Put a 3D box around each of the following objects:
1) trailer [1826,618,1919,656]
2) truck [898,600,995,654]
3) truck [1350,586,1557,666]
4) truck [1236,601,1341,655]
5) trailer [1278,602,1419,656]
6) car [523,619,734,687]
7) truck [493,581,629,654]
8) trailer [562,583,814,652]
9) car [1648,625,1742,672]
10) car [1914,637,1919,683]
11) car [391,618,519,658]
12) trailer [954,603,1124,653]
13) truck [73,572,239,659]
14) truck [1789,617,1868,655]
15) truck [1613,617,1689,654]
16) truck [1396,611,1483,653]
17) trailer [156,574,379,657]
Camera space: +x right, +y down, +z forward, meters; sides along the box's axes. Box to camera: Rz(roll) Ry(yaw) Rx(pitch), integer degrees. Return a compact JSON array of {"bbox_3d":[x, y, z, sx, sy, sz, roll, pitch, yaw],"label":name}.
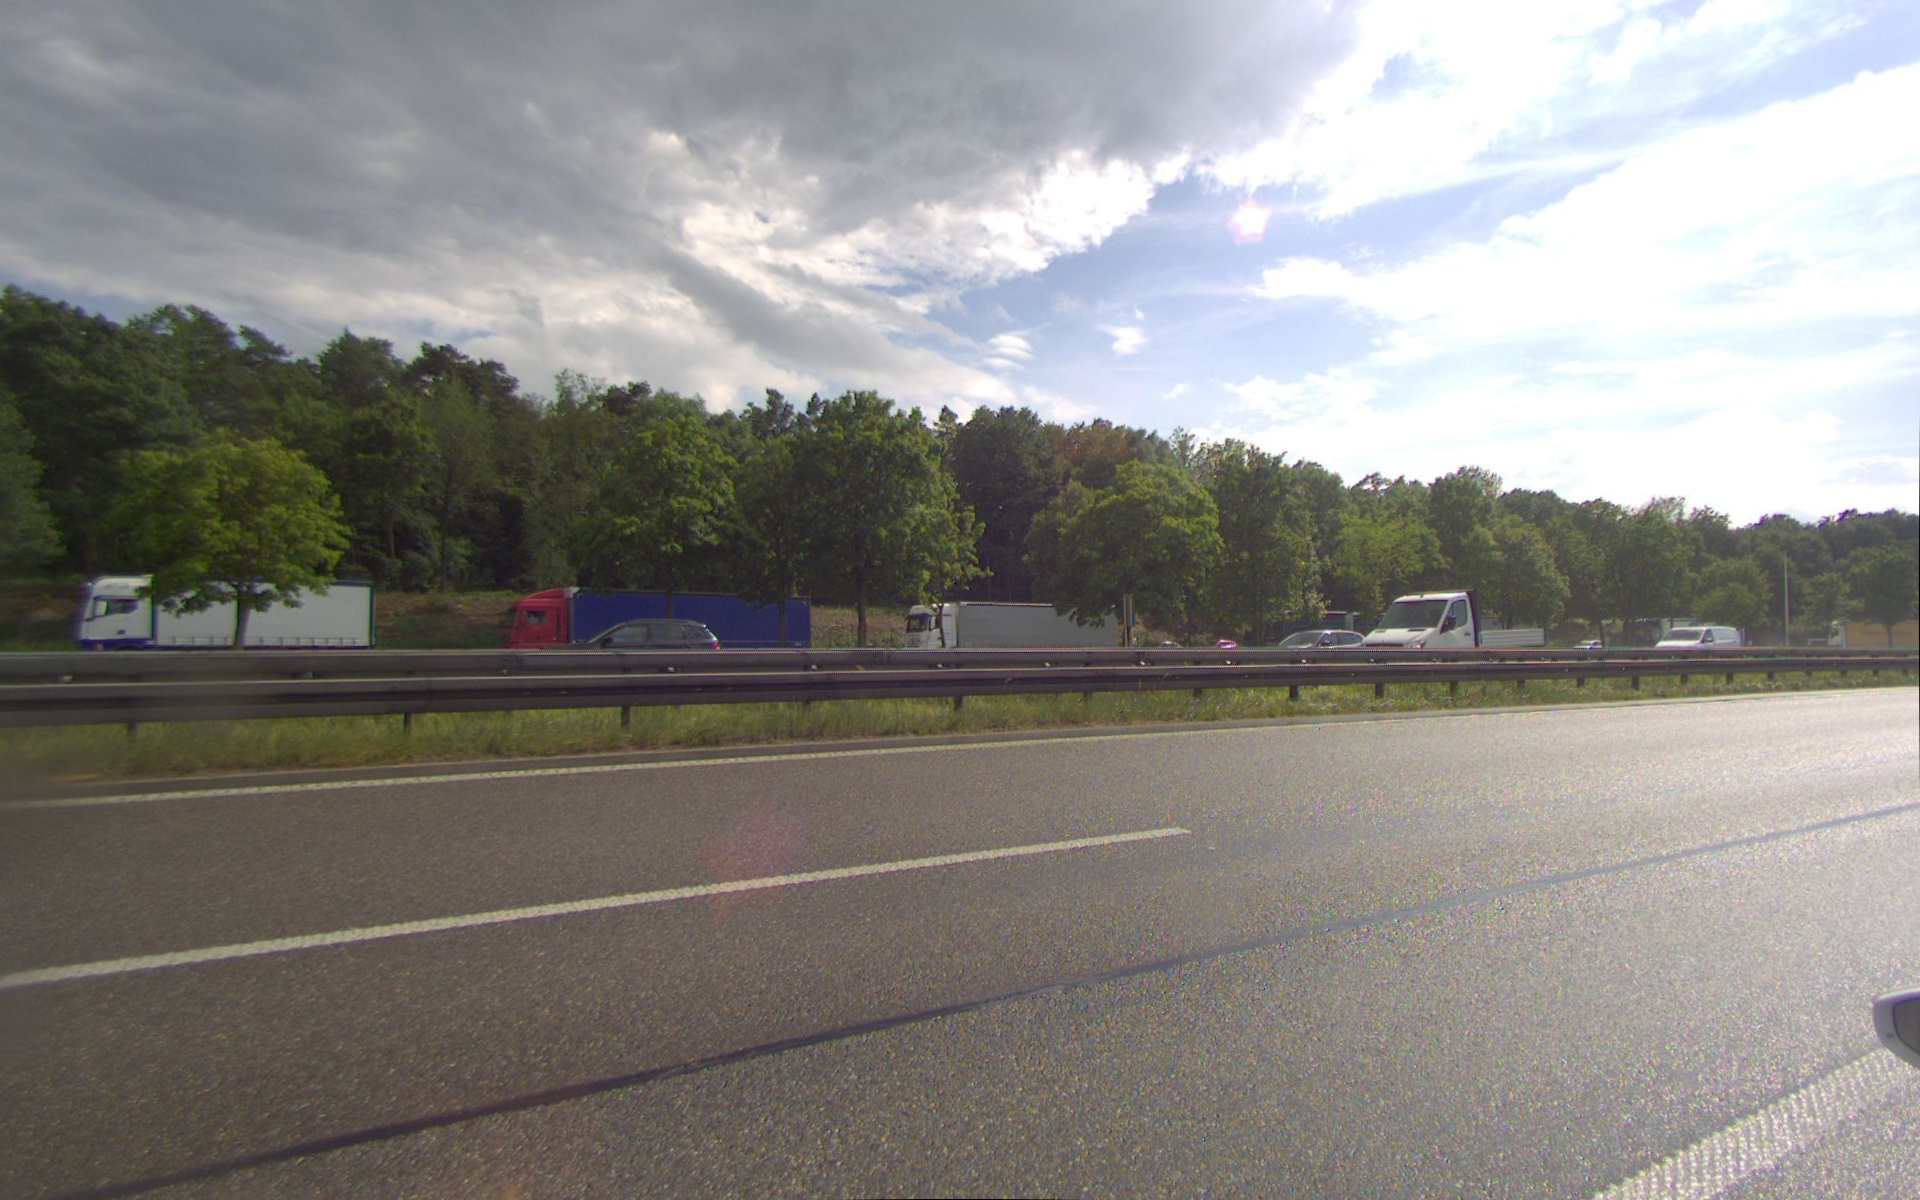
[{"bbox_3d":[109.931,4.431,120.294,11.534,4.171,3.787,2,0,-16],"label":"trailer"},{"bbox_3d":[-0.878,1.756,65.939,5.450,3.316,3.332,2,0,-34],"label":"truck"},{"bbox_3d":[12.984,0.684,26.347,5.383,1.920,2.246,2,0,-30],"label":"truck"},{"bbox_3d":[27.719,2.407,84.680,8.316,4.290,3.771,2,0,-29],"label":"truck"},{"bbox_3d":[34.312,2.564,88.462,13.633,4.464,3.773,1,-1,-29],"label":"trailer"},{"bbox_3d":[-7.681,1.212,23.358,4.382,1.411,1.821,2,0,-30],"label":"car"},{"bbox_3d":[-20.228,0.895,51.041,5.843,3.502,2.839,2,0,-37],"label":"truck"},{"bbox_3d":[-14.621,1.051,55.303,13.303,3.450,2.802,2,-1,-37],"label":"trailer"},{"bbox_3d":[34.778,2.276,47.507,4.723,2.072,1.821,2,0,-30],"label":"car"},{"bbox_3d":[45.953,2.787,46.131,4.723,2.072,1.821,2,0,-30],"label":"car"},{"bbox_3d":[-28.047,2.111,55.902,6.080,2.040,1.978,2,0,-39],"label":"car"},{"bbox_3d":[5.661,1.991,70.137,12.337,3.259,3.329,1,-1,-32],"label":"trailer"},{"bbox_3d":[-32.464,0.627,40.708,5.046,3.311,2.631,2,0,-40],"label":"truck"},{"bbox_3d":[101.974,4.164,117.962,6.931,4.171,3.787,2,0,-16],"label":"truck"},{"bbox_3d":[73.823,3.808,107.360,6.613,3.709,3.777,2,0,-24],"label":"truck"},{"bbox_3d":[44.697,3.010,93.641,7.266,3.637,3.771,2,0,-29],"label":"truck"},{"bbox_3d":[-29.634,0.716,43.217,7.678,3.275,2.558,2,-1,-40],"label":"trailer"}]
